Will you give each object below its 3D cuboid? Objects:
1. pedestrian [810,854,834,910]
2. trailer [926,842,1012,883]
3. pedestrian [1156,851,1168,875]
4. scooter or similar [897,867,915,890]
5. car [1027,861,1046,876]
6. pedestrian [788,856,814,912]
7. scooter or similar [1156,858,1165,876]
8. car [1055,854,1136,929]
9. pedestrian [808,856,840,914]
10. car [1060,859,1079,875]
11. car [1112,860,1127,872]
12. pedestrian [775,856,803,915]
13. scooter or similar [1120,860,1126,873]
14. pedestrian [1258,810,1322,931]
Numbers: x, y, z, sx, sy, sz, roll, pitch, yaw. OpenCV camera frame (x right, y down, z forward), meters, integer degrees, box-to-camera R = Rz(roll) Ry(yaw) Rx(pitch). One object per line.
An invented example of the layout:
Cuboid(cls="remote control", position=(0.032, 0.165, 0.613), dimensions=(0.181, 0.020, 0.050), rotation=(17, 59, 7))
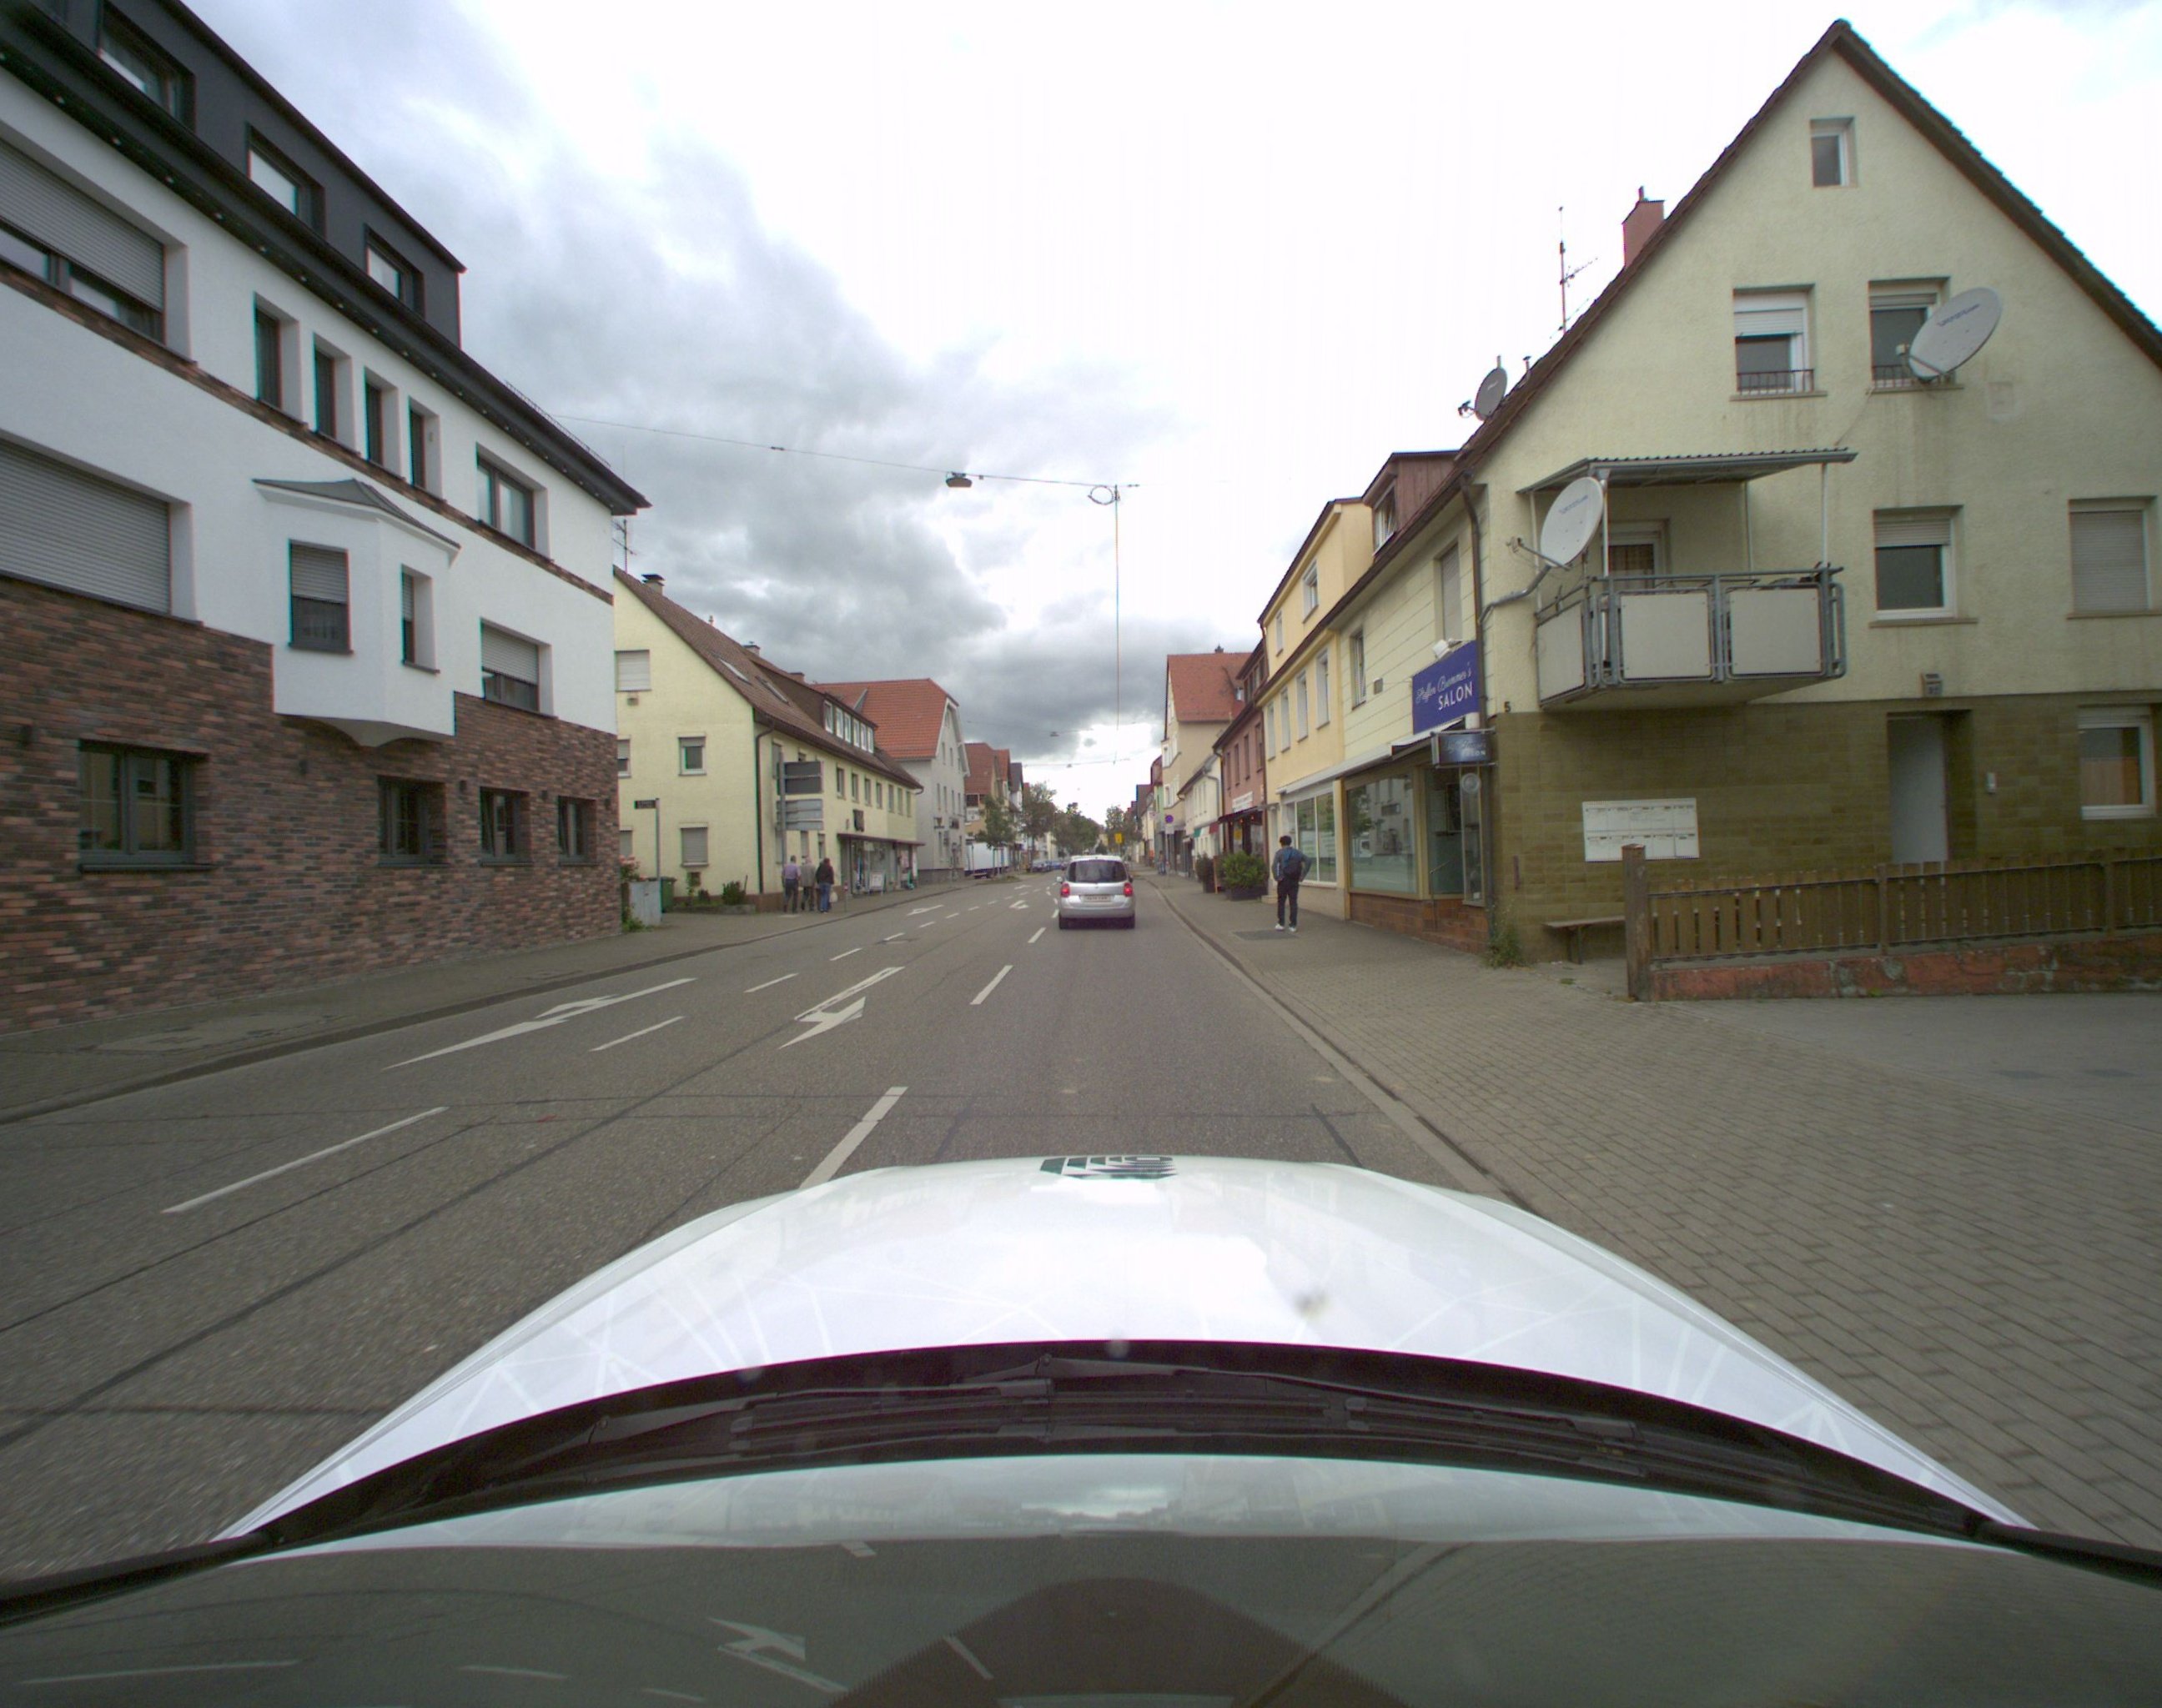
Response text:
Cuboid(cls="pedestrian", position=(-8.169, 0.875, 25.728), dimensions=(0.494, 1.737, 0.648), rotation=(-2, -1, 1))
Cuboid(cls="trailer", position=(-9.223, 0.686, 67.910), dimensions=(2.480, 3.219, 7.178), rotation=(-1, -1, 43))
Cuboid(cls="pedestrian", position=(5.693, 0.634, 57.288), dimensions=(0.747, 1.720, 0.900), rotation=(0, -1, 2))
Cuboid(cls="scooter or similar", position=(-9.082, 1.266, 42.251), dimensions=(0.526, 1.170, 1.722), rotation=(0, -1, 2))
Cuboid(cls="car", position=(-4.632, 1.494, 84.944), dimensions=(1.676, 1.424, 3.932), rotation=(-3, -1, 1))
Cuboid(cls="pedestrian", position=(-8.901, 0.950, 25.878), dimensions=(0.551, 1.737, 0.648), rotation=(-2, -1, 1))
Cuboid(cls="scooter or similar", position=(5.668, 0.923, 58.242), dimensions=(0.587, 1.233, 0.891), rotation=(0, -1, 1))
Cuboid(cls="car", position=(0.400, 0.788, 18.884), dimensions=(1.675, 1.566, 3.996), rotation=(0, 0, 3))
Cuboid(cls="pedestrian", position=(-7.888, 0.936, 25.014), dimensions=(0.675, 1.737, 0.717), rotation=(-2, -1, 1))
Cuboid(cls="car", position=(-1.384, 1.509, 97.020), dimensions=(1.986, 1.796, 4.279), rotation=(-2, -1, 2))
Cuboid(cls="car", position=(4.659, 1.460, 97.928), dimensions=(1.824, 1.446, 4.334), rotation=(0, 0, 3))
Cuboid(cls="pedestrian", position=(-8.822, 0.940, 24.638), dimensions=(0.551, 1.737, 0.648), rotation=(-2, -1, 1))
Cuboid(cls="scooter or similar", position=(3.918, 1.156, 75.235), dimensions=(0.500, 1.235, 1.943), rotation=(0, -1, 1))
Cuboid(cls="pedestrian", position=(3.791, 0.296, 14.837), dimensions=(0.820, 2.074, 1.012), rotation=(-4, -1, 4))
